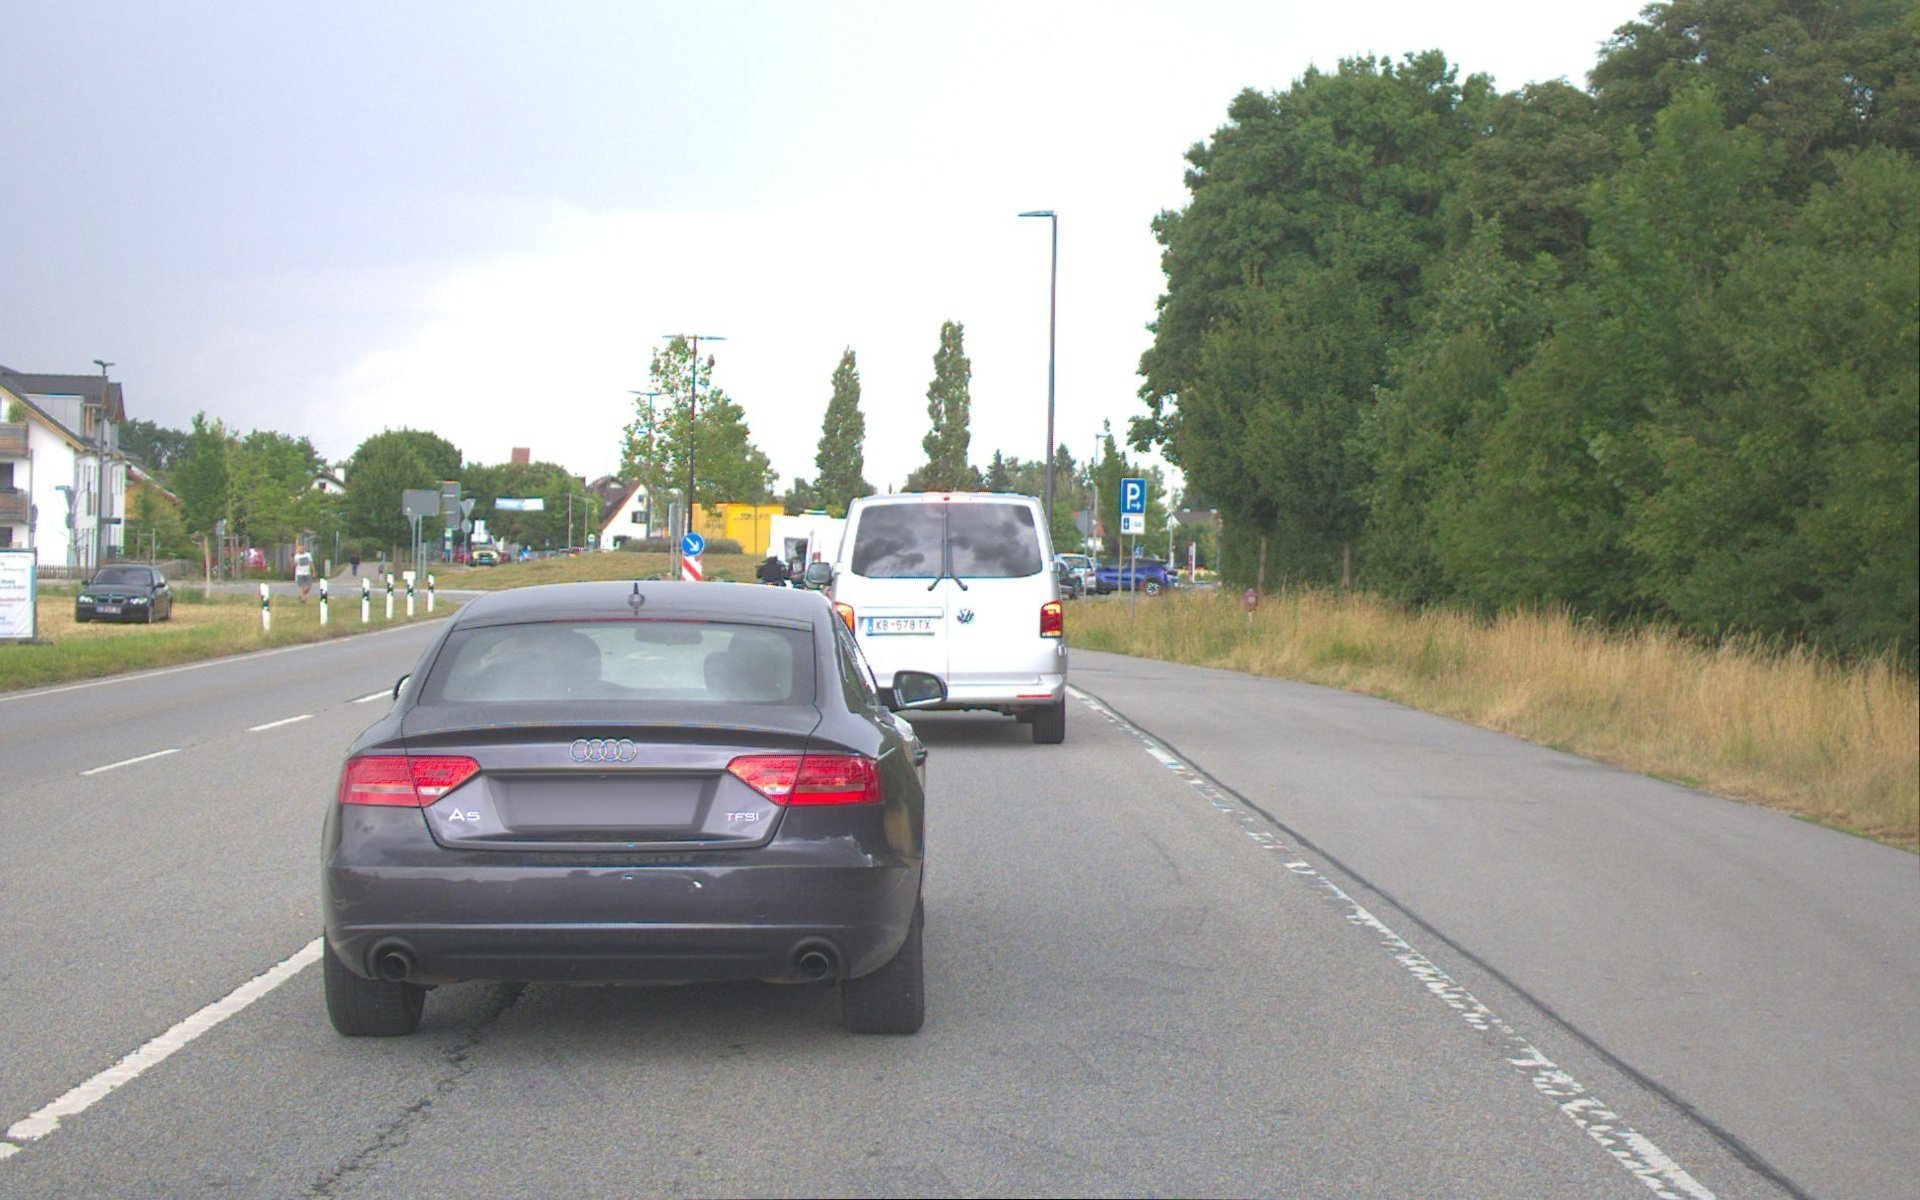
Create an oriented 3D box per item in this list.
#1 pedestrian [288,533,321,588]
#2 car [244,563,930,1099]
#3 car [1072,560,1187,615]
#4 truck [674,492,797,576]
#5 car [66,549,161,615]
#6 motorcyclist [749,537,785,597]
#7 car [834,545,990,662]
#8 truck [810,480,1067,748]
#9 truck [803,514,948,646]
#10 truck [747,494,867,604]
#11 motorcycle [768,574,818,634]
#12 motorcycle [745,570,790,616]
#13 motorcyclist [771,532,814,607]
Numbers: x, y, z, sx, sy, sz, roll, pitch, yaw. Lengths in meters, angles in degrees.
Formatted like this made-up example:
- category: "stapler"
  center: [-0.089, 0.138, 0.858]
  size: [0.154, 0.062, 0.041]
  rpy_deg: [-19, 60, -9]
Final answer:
- category: "pedestrian"
  center: [-18.909, -1.141, 99.132]
  size: [0.701, 1.580, 0.657]
  rpy_deg: [1, 1, 17]
- category: "car"
  center: [-1.048, 0.616, 11.572]
  size: [1.875, 1.449, 4.177]
  rpy_deg: [0, 1, 0]
- category: "car"
  center: [6.563, -0.489, 133.113]
  size: [3.991, 2.007, 1.998]
  rpy_deg: [2, 1, 20]
- category: "truck"
  center: [-10.106, -2.976, 153.317]
  size: [3.575, 3.566, 9.960]
  rpy_deg: [1, 1, -15]
- category: "car"
  center: [-20.206, -0.446, 82.192]
  size: [1.993, 1.437, 4.001]
  rpy_deg: [1, 1, -11]
- category: "motorcyclist"
  center: [-4.420, -0.763, 78.838]
  size: [0.785, 1.352, 0.854]
  rpy_deg: [1, 1, -2]
- category: "car"
  center: [-0.654, 0.025, 46.317]
  size: [1.993, 1.480, 4.000]
  rpy_deg: [1, 1, -1]
- category: "truck"
  center: [-0.166, 0.067, 28.211]
  size: [1.904, 1.991, 4.628]
  rpy_deg: [1, 1, 0]
- category: "truck"
  center: [-1.314, -0.337, 55.495]
  size: [2.193, 2.007, 5.085]
  rpy_deg: [1, 1, 0]
- category: "truck"
  center: [-4.061, -1.335, 90.100]
  size: [2.626, 2.728, 5.868]
  rpy_deg: [1, 1, -7]
- category: "motorcycle"
  center: [-3.158, 0.067, 65.103]
  size: [0.920, 1.090, 2.189]
  rpy_deg: [1, 1, -2]
- category: "motorcycle"
  center: [-4.401, -0.162, 78.804]
  size: [0.944, 1.016, 2.284]
  rpy_deg: [1, 1, -1]
- category: "motorcyclist"
  center: [-3.166, -0.579, 65.103]
  size: [0.772, 1.379, 0.820]
  rpy_deg: [1, 1, -2]
